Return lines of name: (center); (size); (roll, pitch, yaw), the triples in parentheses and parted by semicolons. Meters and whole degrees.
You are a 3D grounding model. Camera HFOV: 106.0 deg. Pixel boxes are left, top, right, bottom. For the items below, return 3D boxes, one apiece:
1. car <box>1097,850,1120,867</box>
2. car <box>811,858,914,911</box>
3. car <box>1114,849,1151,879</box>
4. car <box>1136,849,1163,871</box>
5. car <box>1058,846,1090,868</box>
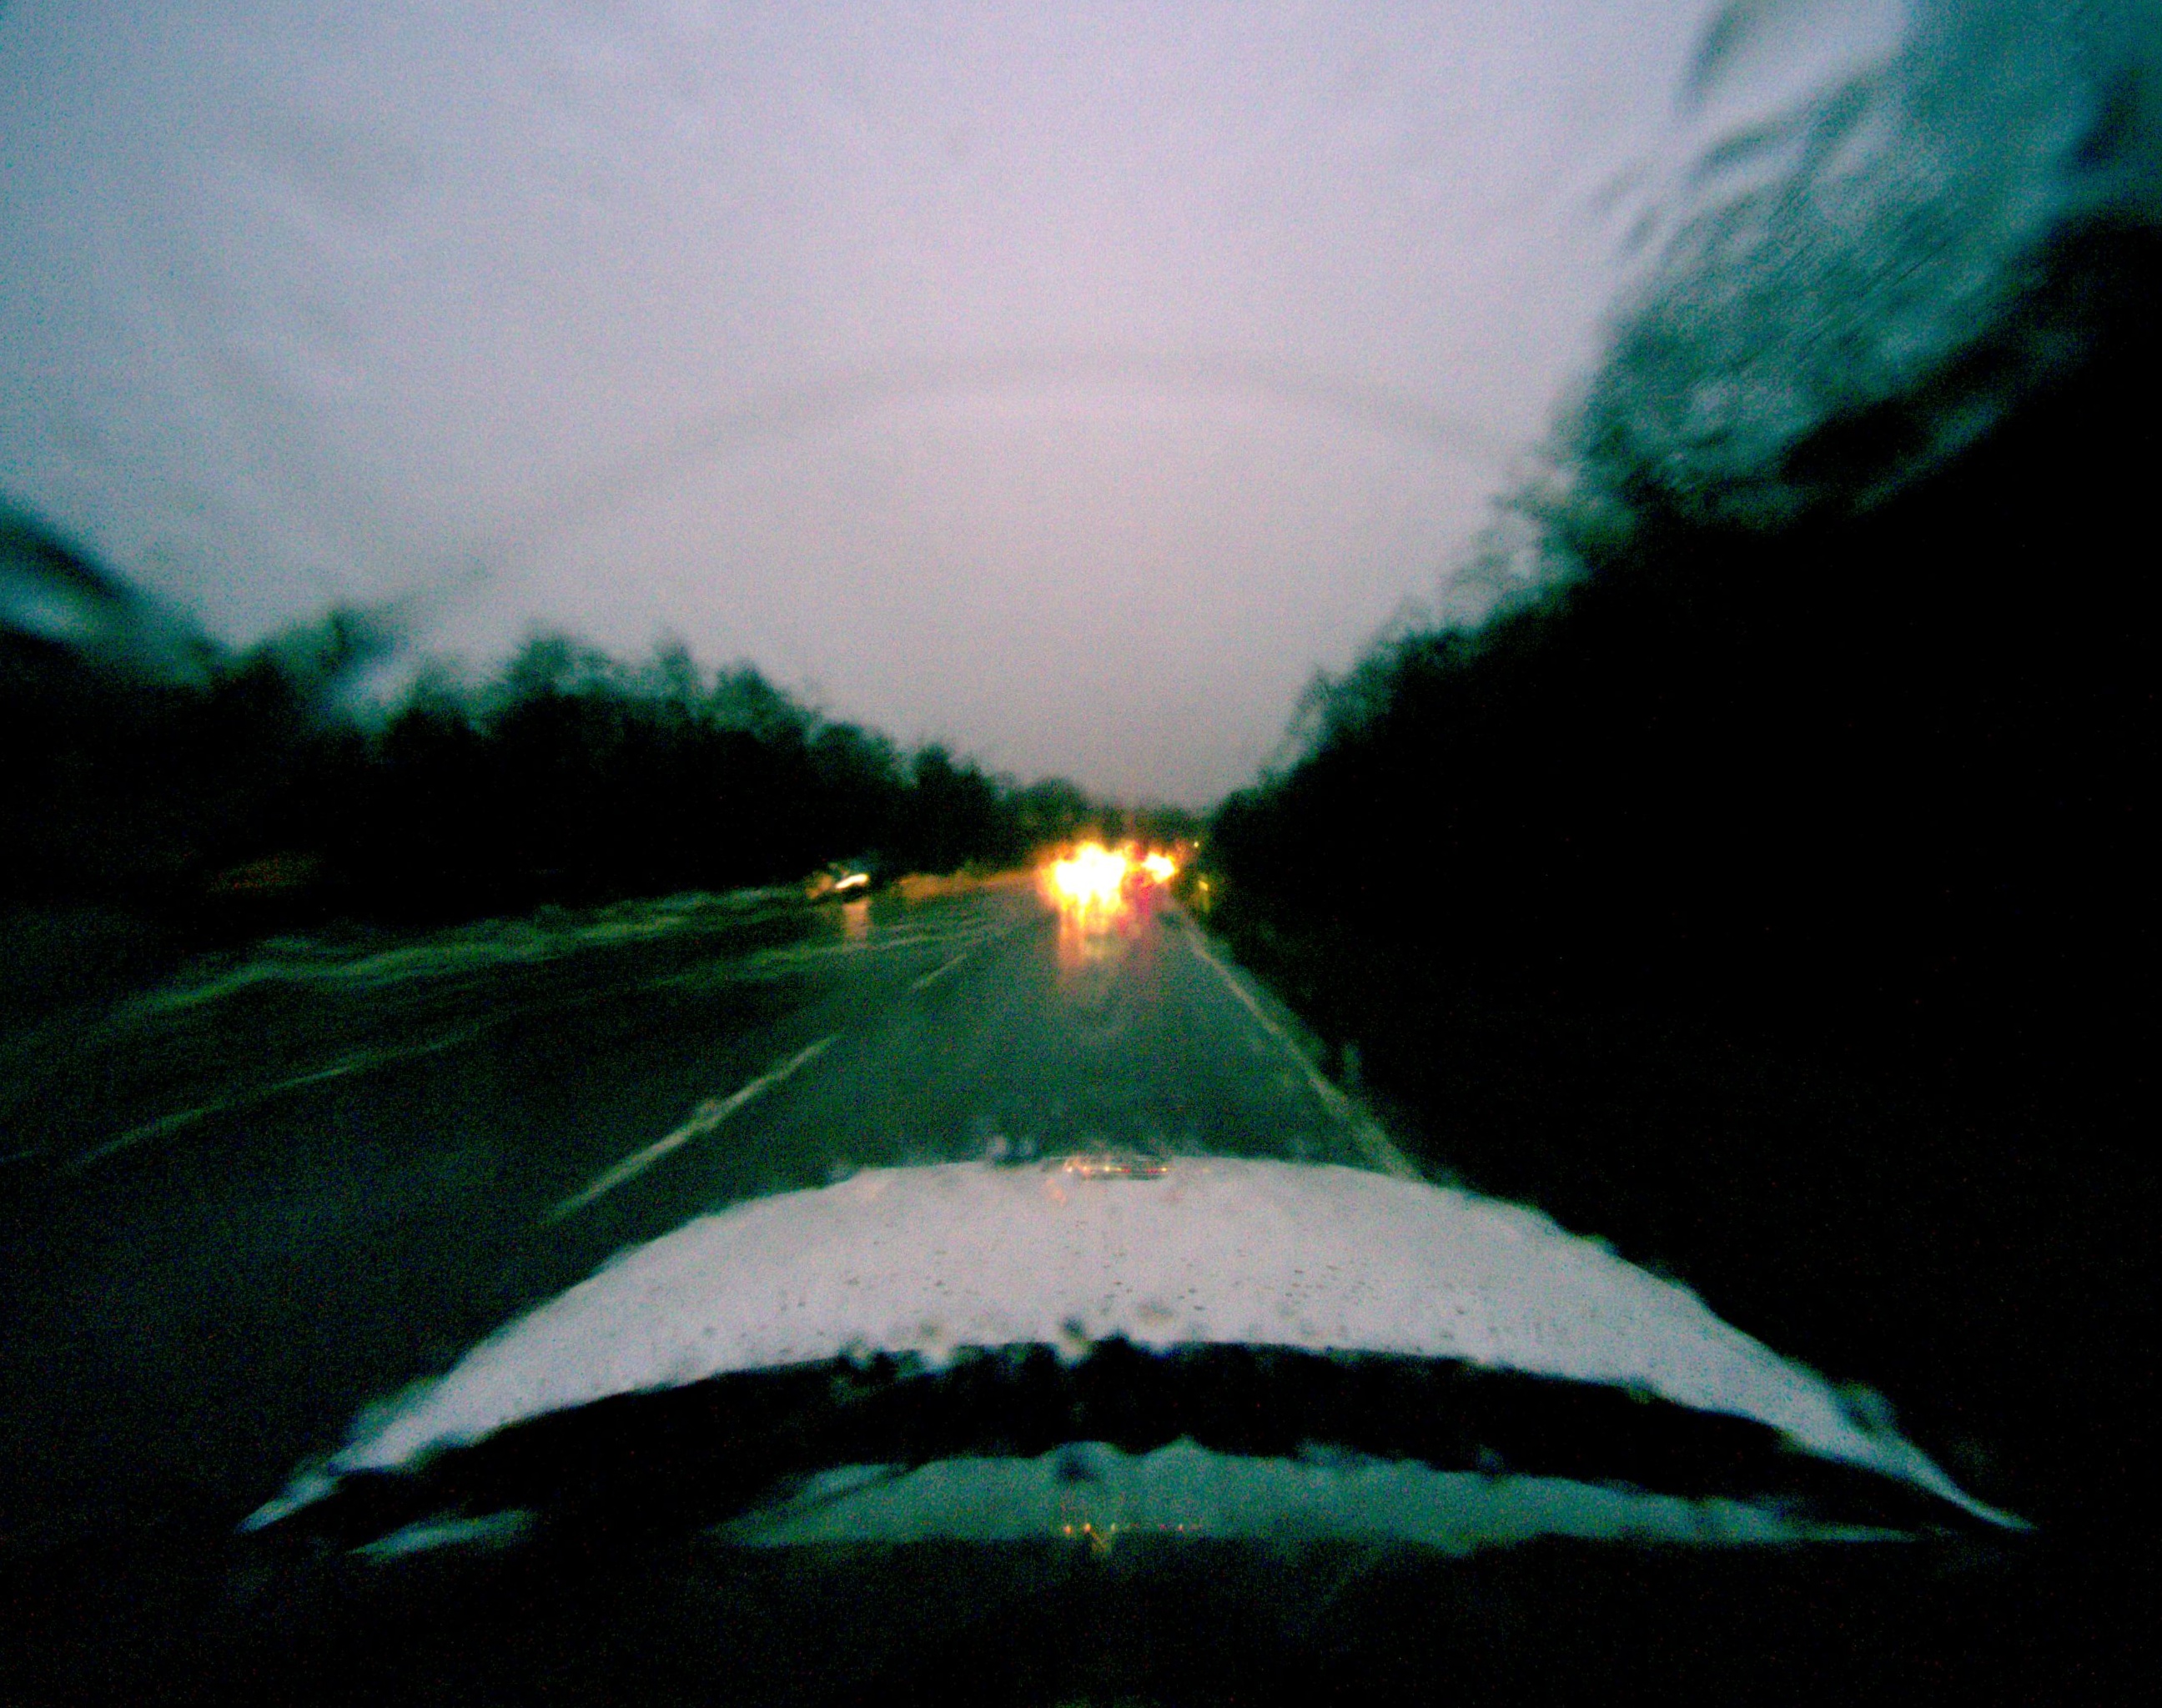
car: (2.872, 0.462, 83.815); (1.892, 1.648, 4.738); (-1, 0, 8)
car: (-8.848, 1.181, 33.374); (1.822, 1.970, 4.380); (0, 0, 21)
car: (2.700, 0.481, 42.134); (1.670, 1.389, 4.105); (-2, 0, 6)
car: (5.597, 0.436, 66.239); (1.668, 1.675, 4.110); (-2, 0, 10)
car: (-0.510, 0.187, 64.230); (1.813, 1.523, 4.309); (-3, 1, 8)
